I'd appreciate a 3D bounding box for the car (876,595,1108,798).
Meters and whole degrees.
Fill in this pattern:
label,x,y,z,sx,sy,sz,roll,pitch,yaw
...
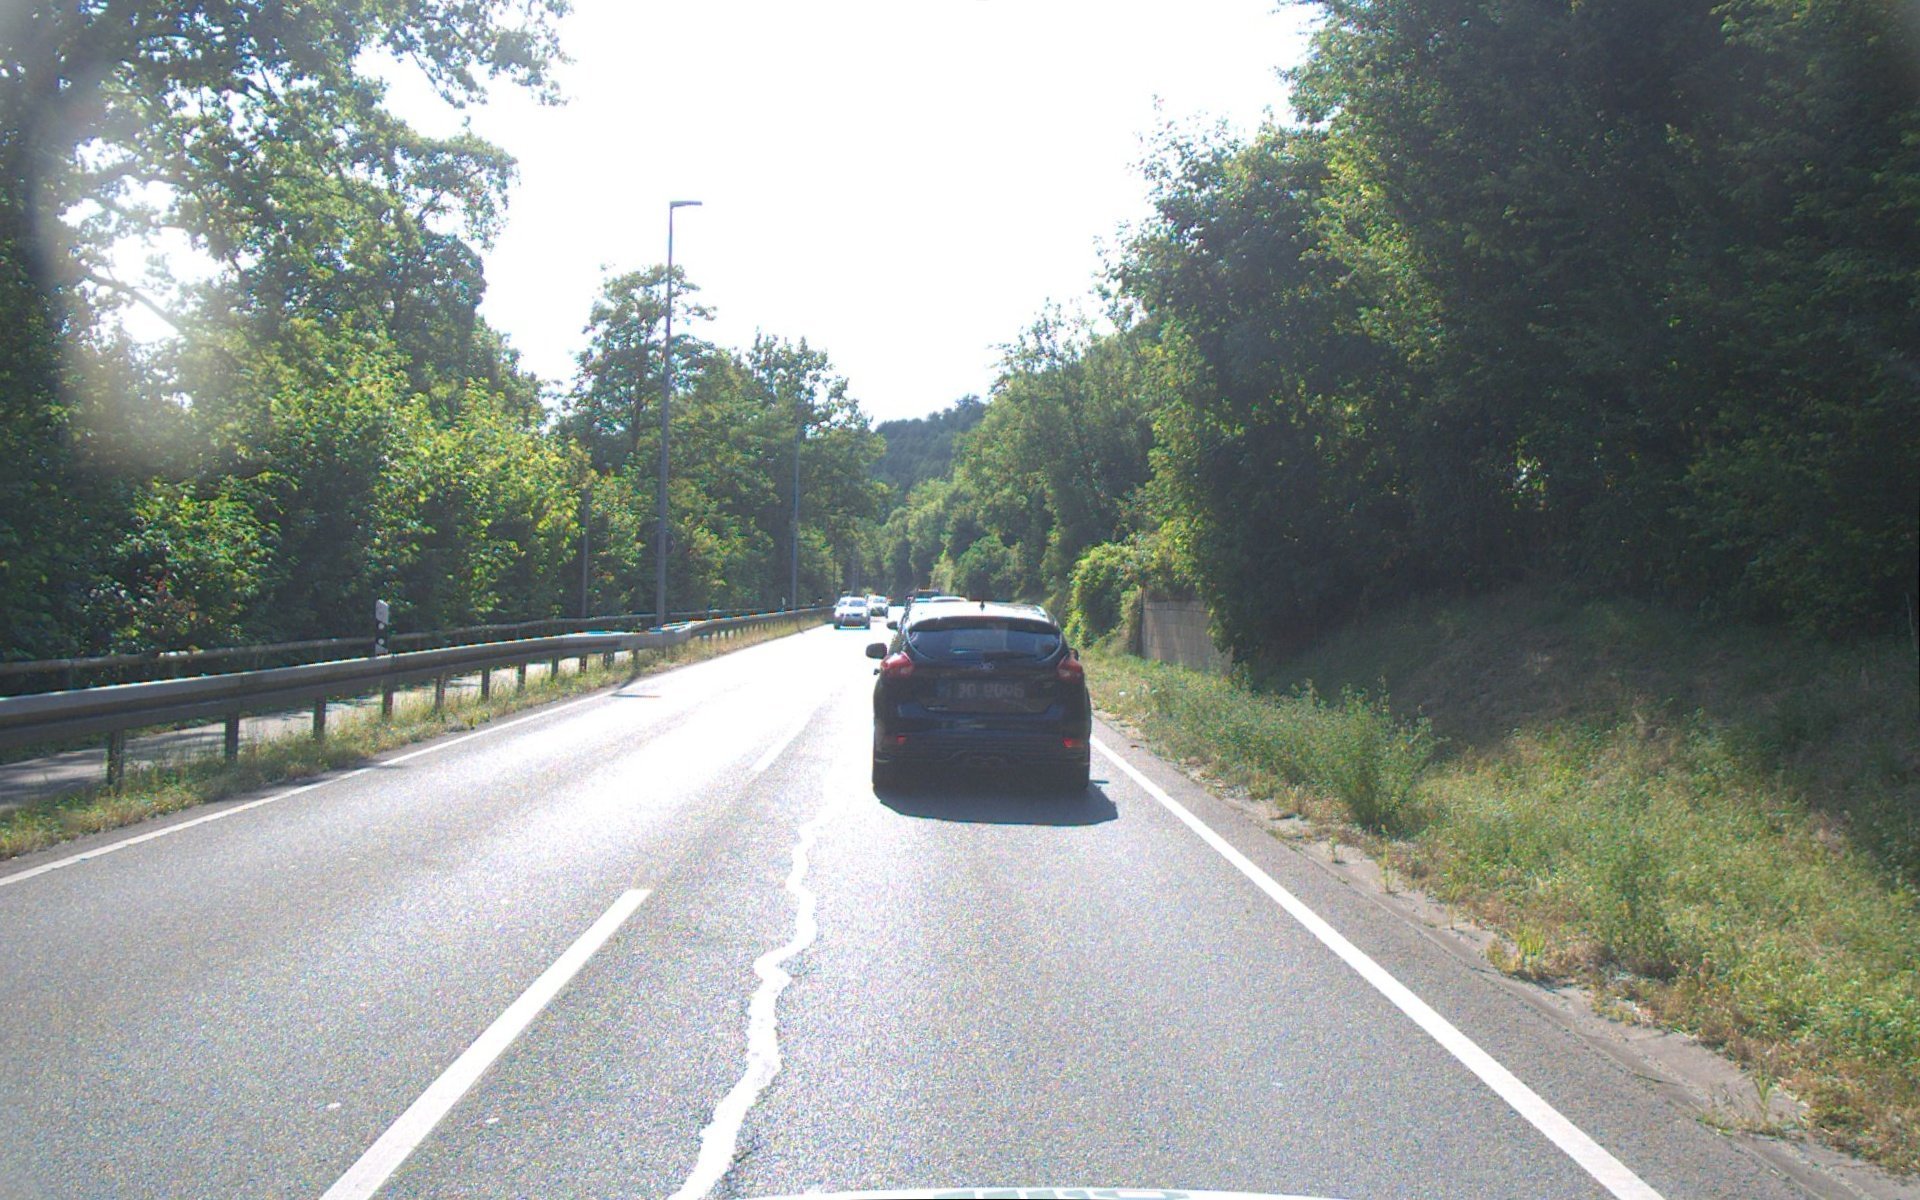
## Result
label,x,y,z,sx,sy,sz,roll,pitch,yaw
car,0.209,0.726,14.319,1.704,1.482,3.999,1,0,-1

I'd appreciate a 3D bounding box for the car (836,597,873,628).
label,x,y,z,sx,sy,sz,roll,pitch,yaw
car,-5.006,0.585,78.730,1.590,1.401,4.046,0,0,-2

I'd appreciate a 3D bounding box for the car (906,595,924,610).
label,x,y,z,sx,sy,sz,roll,pitch,yaw
car,-4.726,0.227,173.829,1.782,1.545,3.999,0,0,-1

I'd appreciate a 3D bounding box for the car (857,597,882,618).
label,x,y,z,sx,sy,sz,roll,pitch,yaw
car,-6.459,0.520,118.019,1.647,1.489,4.196,1,0,-2

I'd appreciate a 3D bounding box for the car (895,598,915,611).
label,x,y,z,sx,sy,sz,roll,pitch,yaw
car,-6.629,0.512,200.049,1.956,1.545,3.992,1,0,-8

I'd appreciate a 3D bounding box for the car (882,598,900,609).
label,x,y,z,sx,sy,sz,roll,pitch,yaw
car,-9.561,0.492,228.830,1.957,1.545,3.992,1,0,-9

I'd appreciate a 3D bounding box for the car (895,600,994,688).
label,x,y,z,sx,sy,sz,roll,pitch,yaw
car,-0.238,0.734,29.409,1.627,1.443,4.000,1,0,0

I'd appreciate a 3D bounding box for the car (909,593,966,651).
label,x,y,z,sx,sy,sz,roll,pitch,yaw
car,-0.664,0.627,48.946,1.597,1.624,3.999,0,0,-1

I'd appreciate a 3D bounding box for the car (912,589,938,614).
label,x,y,z,sx,sy,sz,roll,pitch,yaw
car,-2.617,0.079,123.889,1.826,1.812,3.998,0,0,-3

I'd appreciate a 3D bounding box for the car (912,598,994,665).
label,x,y,z,sx,sy,sz,roll,pitch,yaw
car,-0.175,0.680,37.878,1.768,1.416,3.999,0,0,-1

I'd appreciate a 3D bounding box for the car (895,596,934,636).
label,x,y,z,sx,sy,sz,roll,pitch,yaw
car,-1.892,0.658,69.907,1.597,1.624,3.999,0,0,-1
